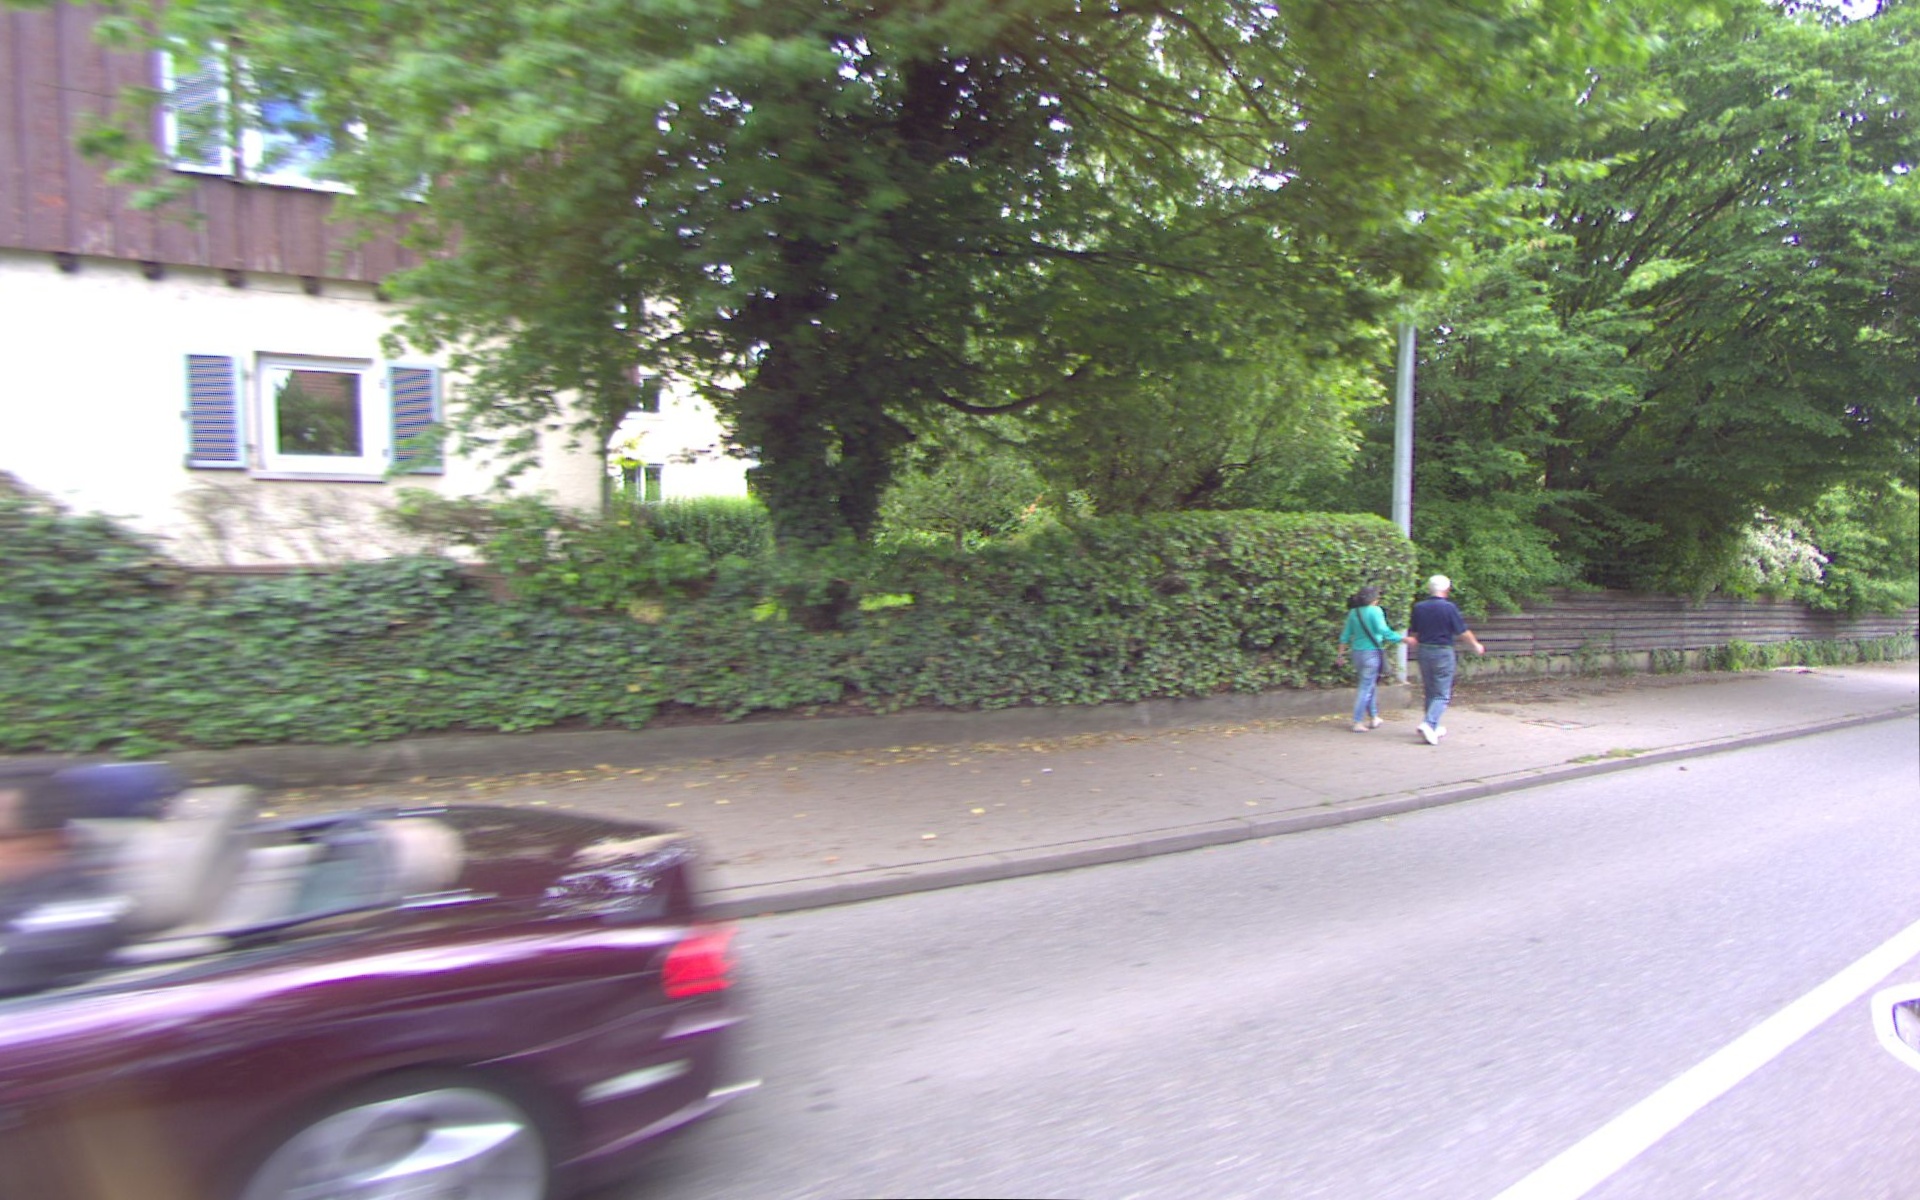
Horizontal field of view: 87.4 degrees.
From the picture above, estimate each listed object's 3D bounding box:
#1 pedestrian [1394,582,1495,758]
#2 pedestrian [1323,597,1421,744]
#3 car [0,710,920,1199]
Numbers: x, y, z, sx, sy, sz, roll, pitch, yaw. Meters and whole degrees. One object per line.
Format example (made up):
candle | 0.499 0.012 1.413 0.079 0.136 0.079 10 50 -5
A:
pedestrian | 4.946 0.679 10.253 0.622 1.684 0.914 3 2 43
pedestrian | 4.415 0.724 10.764 0.662 1.469 0.753 6 4 43
car | -2.122 0.984 2.187 3.743 1.192 1.683 1 -1 -31
